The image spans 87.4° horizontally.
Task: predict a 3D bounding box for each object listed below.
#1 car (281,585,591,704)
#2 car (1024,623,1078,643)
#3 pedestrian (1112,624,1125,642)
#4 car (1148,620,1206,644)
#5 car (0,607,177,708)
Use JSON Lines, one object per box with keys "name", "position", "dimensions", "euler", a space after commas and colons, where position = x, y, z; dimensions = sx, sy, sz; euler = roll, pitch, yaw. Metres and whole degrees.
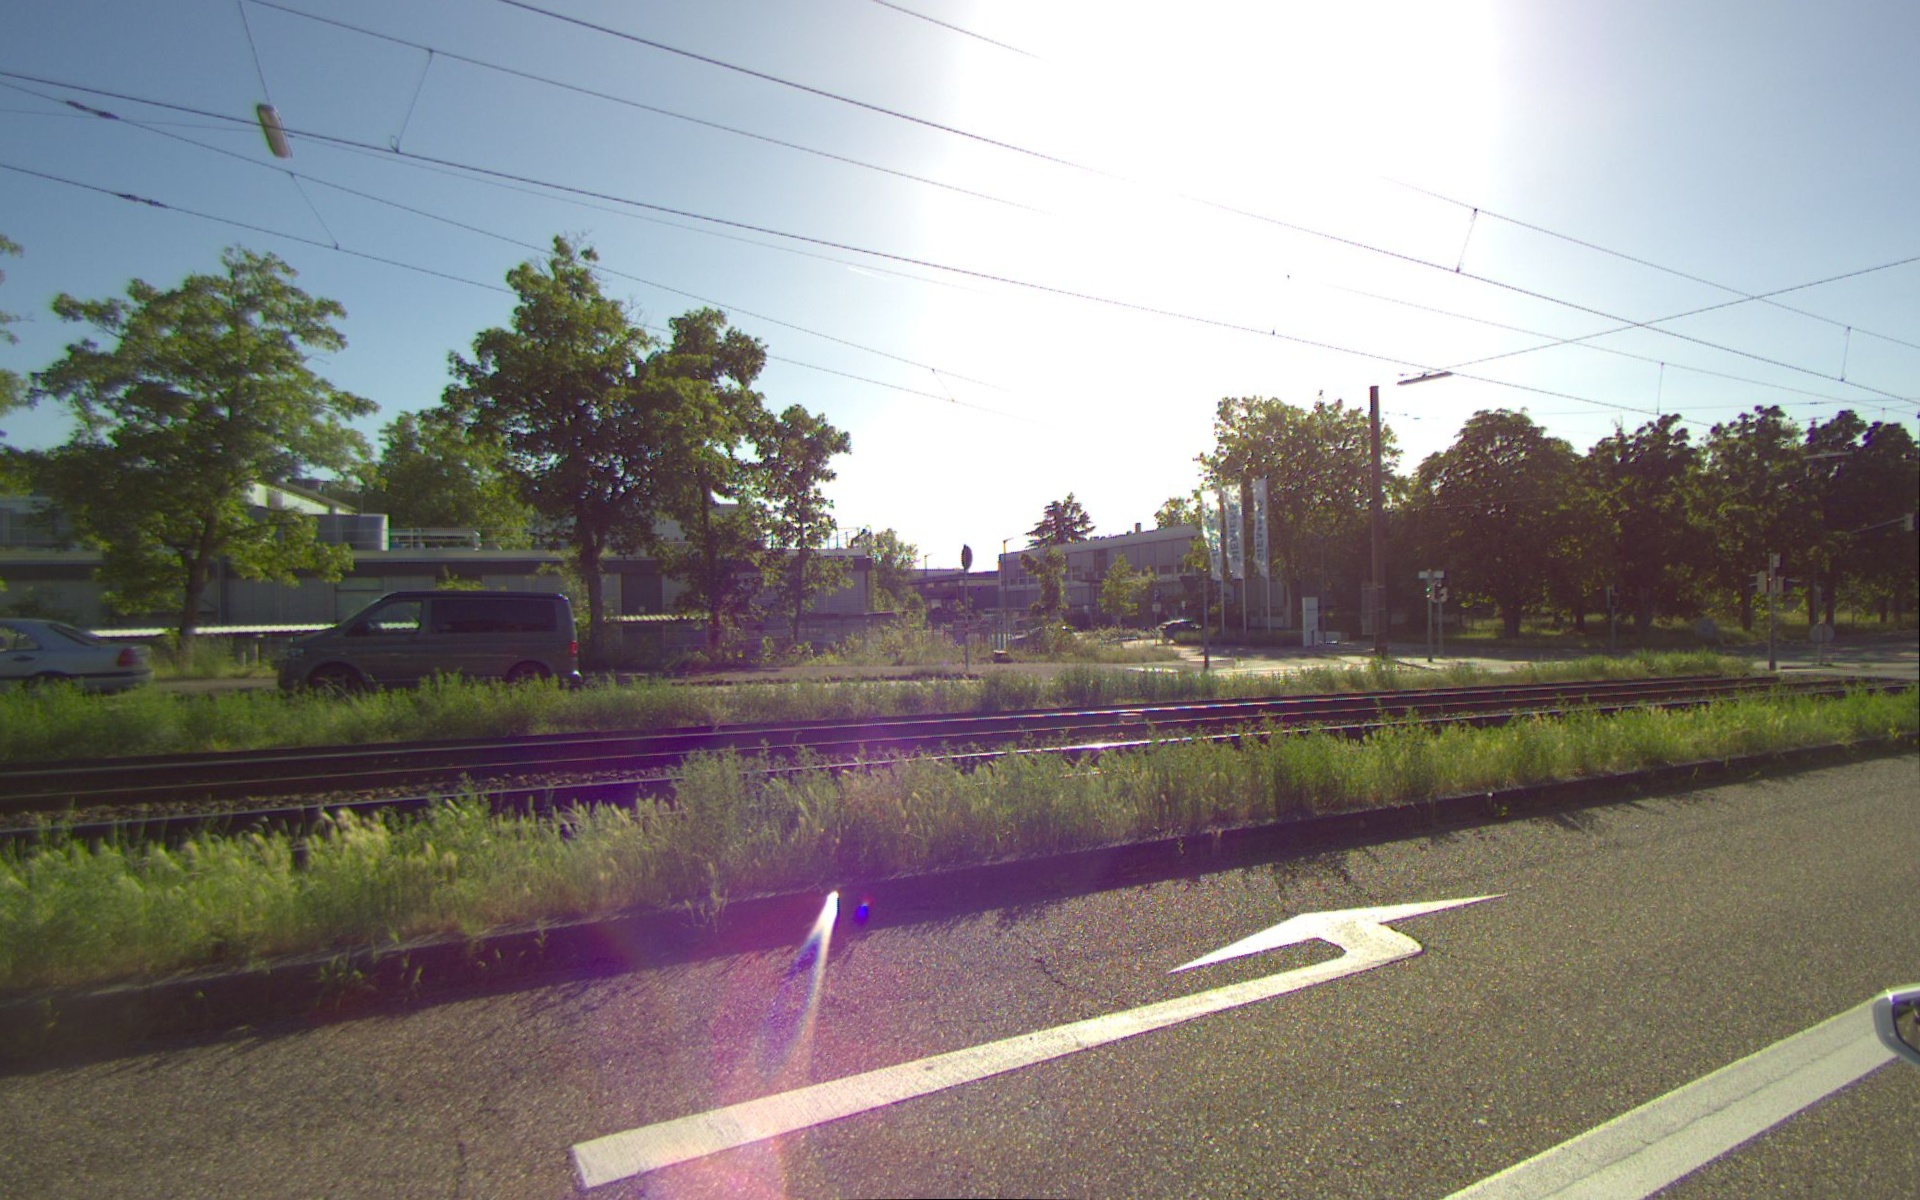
{"name": "car", "position": [-9.356, 0.739, 18.288], "dimensions": [4.731, 1.916, 2.188], "euler": [1, 0, -28]}
{"name": "car", "position": [7.170, 2.570, 78.787], "dimensions": [3.892, 1.471, 1.689], "euler": [0, 0, -21]}
{"name": "pedestrian", "position": [13.784, 2.902, 87.463], "dimensions": [0.811, 1.549, 0.761], "euler": [0, 0, -20]}
{"name": "car", "position": [14.858, 2.168, 68.657], "dimensions": [3.817, 1.508, 1.683], "euler": [0, 0, -31]}
{"name": "car", "position": [-14.912, 0.841, 15.137], "dimensions": [4.639, 1.457, 1.919], "euler": [0, 0, -30]}
